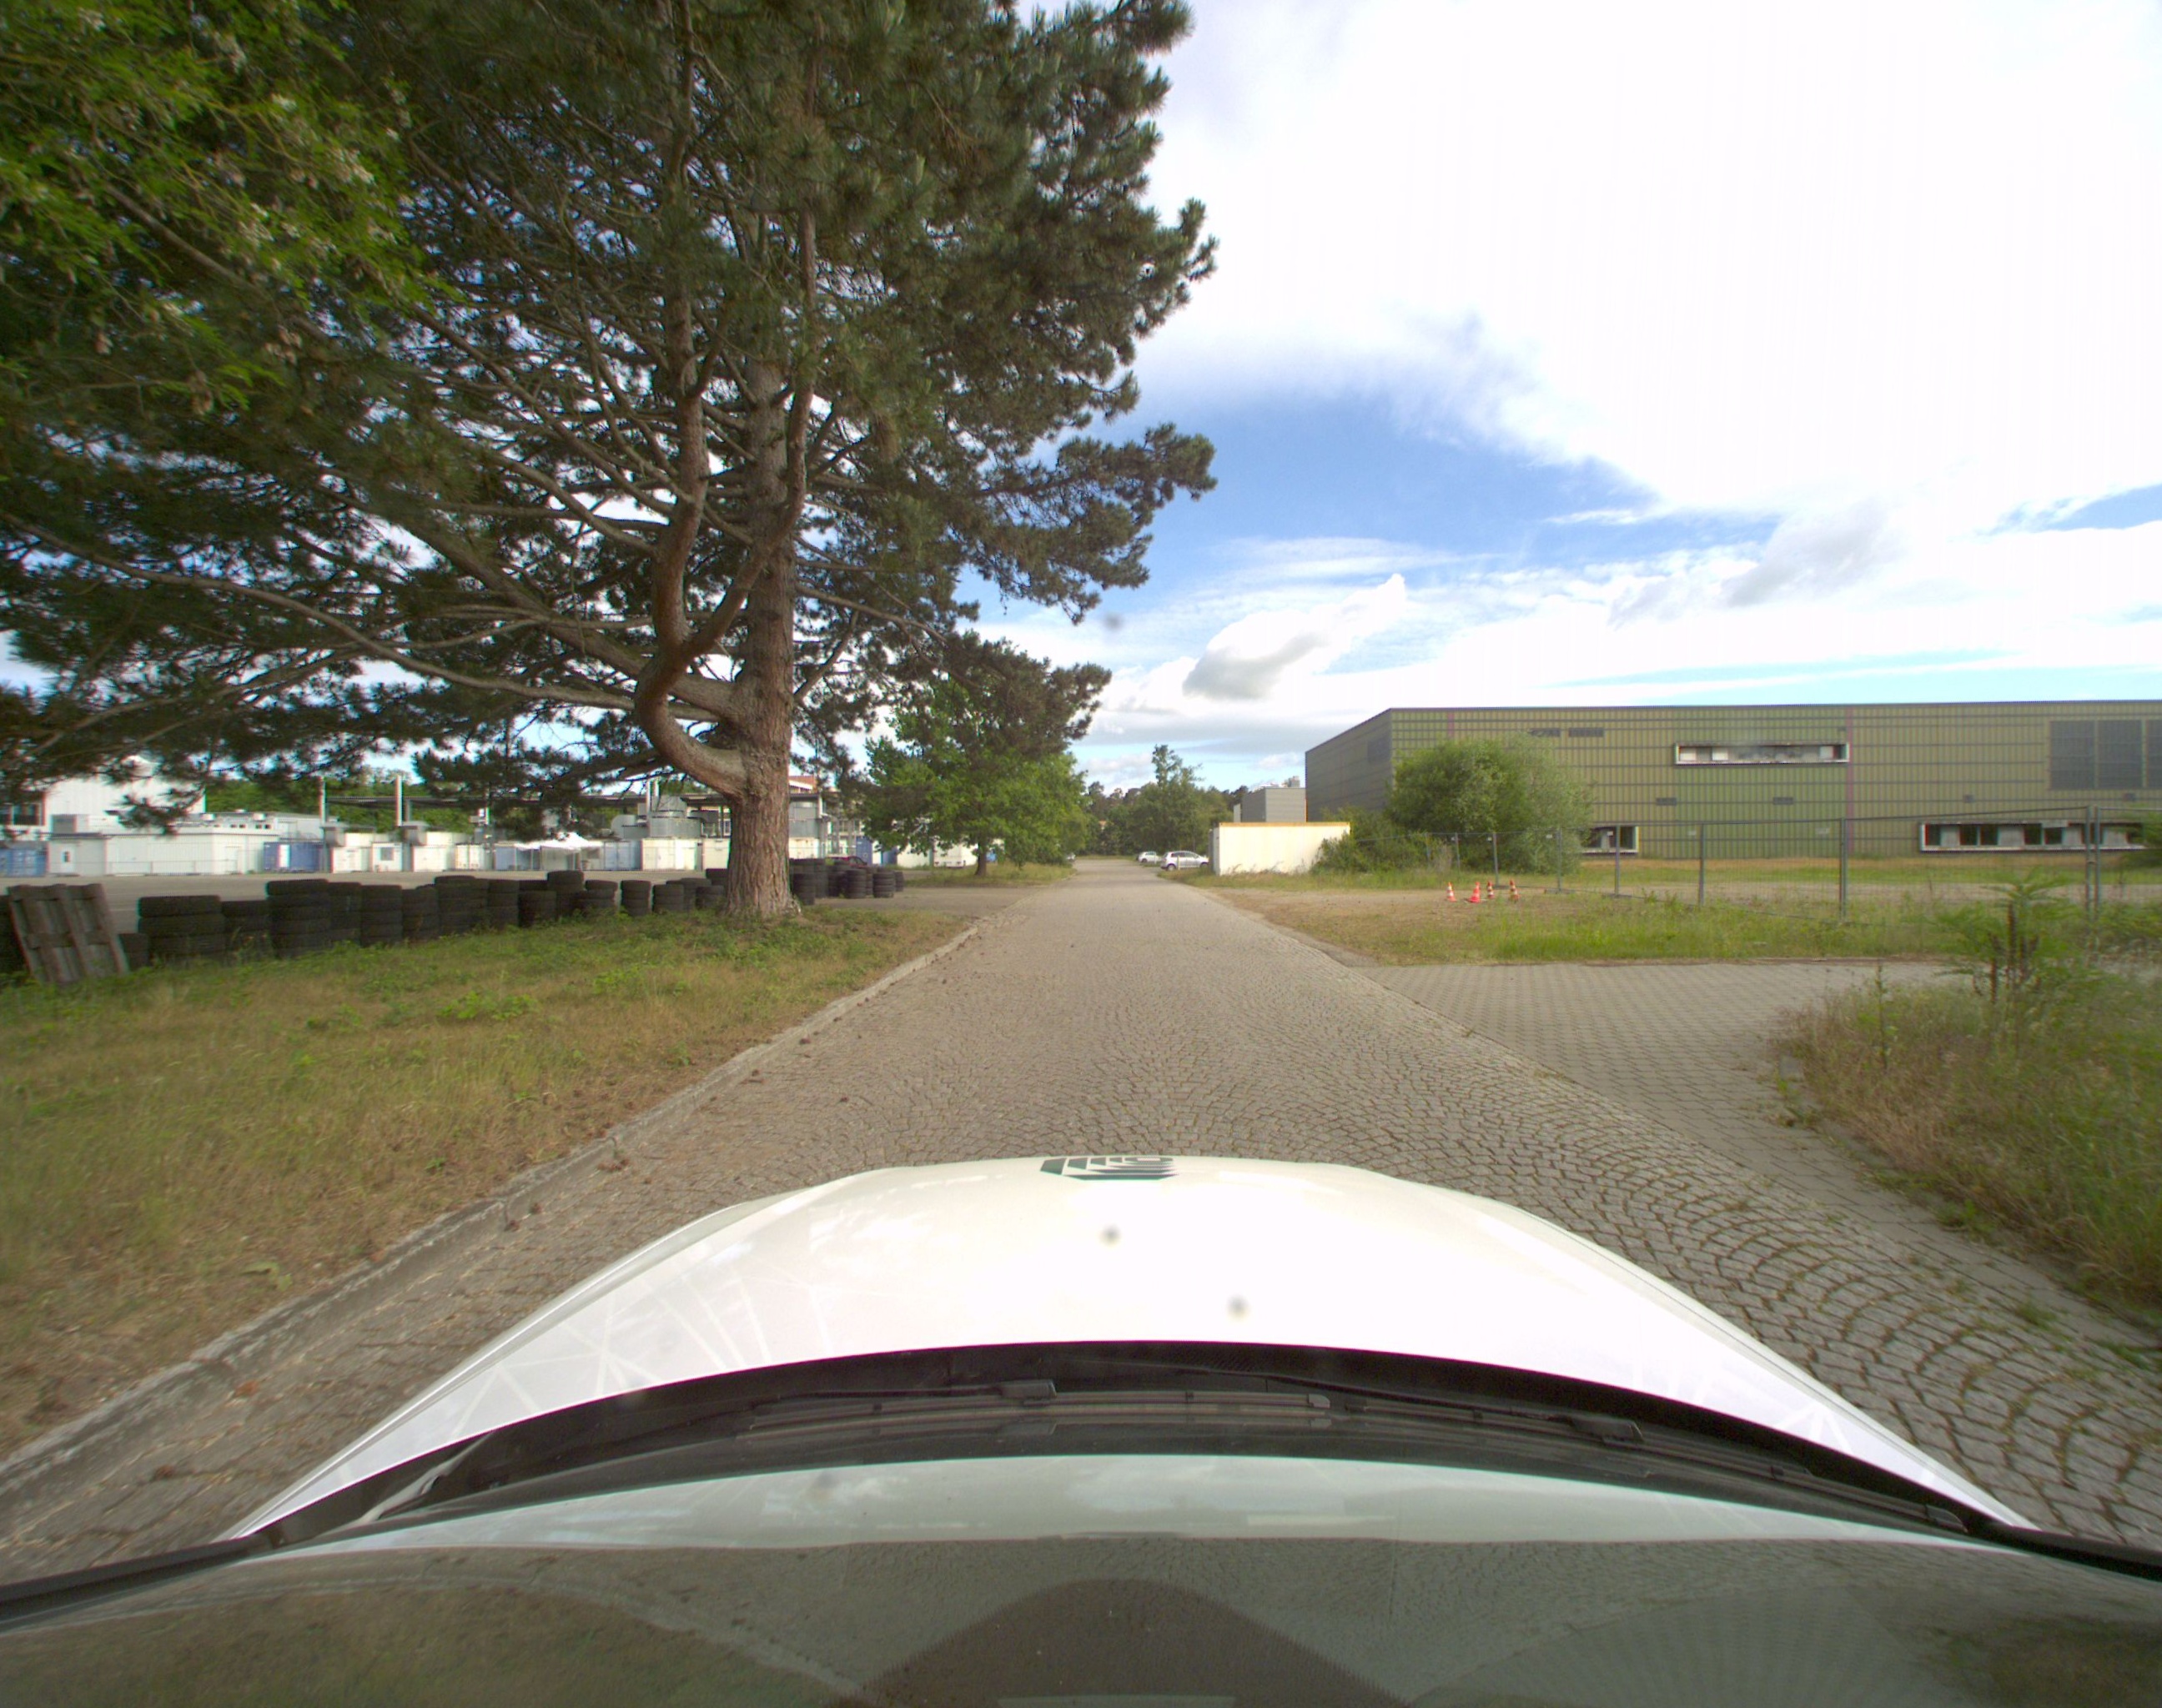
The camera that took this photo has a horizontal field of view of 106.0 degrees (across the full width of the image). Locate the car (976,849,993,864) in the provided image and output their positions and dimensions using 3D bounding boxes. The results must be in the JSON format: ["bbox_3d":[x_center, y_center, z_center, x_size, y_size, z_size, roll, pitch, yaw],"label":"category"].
[{"bbox_3d":[-13.823,0.360,117.337,1.919,2.047,4.599,0,0,-1],"label":"car"}]

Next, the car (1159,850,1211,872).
[{"bbox_3d":[8.053,0.515,63.516,3.838,1.654,1.685,0,0,-1],"label":"car"}]

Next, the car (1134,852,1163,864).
[{"bbox_3d":[9.566,0.532,115.221,3.975,1.601,1.728,0,0,-1],"label":"car"}]

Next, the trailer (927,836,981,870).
[{"bbox_3d":[-11.816,-0.107,76.585,3.145,3.067,8.793,0,0,4],"label":"trailer"}]

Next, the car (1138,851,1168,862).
[{"bbox_3d":[9.712,0.303,109.661,4.009,1.502,1.549,0,0,2],"label":"car"}]

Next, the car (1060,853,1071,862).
[{"bbox_3d":[-2.389,0.511,128.963,1.729,1.469,4.044,0,0,-1],"label":"car"}]

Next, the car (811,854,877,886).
[{"bbox_3d":[-11.321,0.743,39.100,1.757,1.453,3.495,0,0,7],"label":"car"}]

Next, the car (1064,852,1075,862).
[{"bbox_3d":[-1.981,0.484,138.318,1.798,1.535,3.999,0,0,-1],"label":"car"}]
